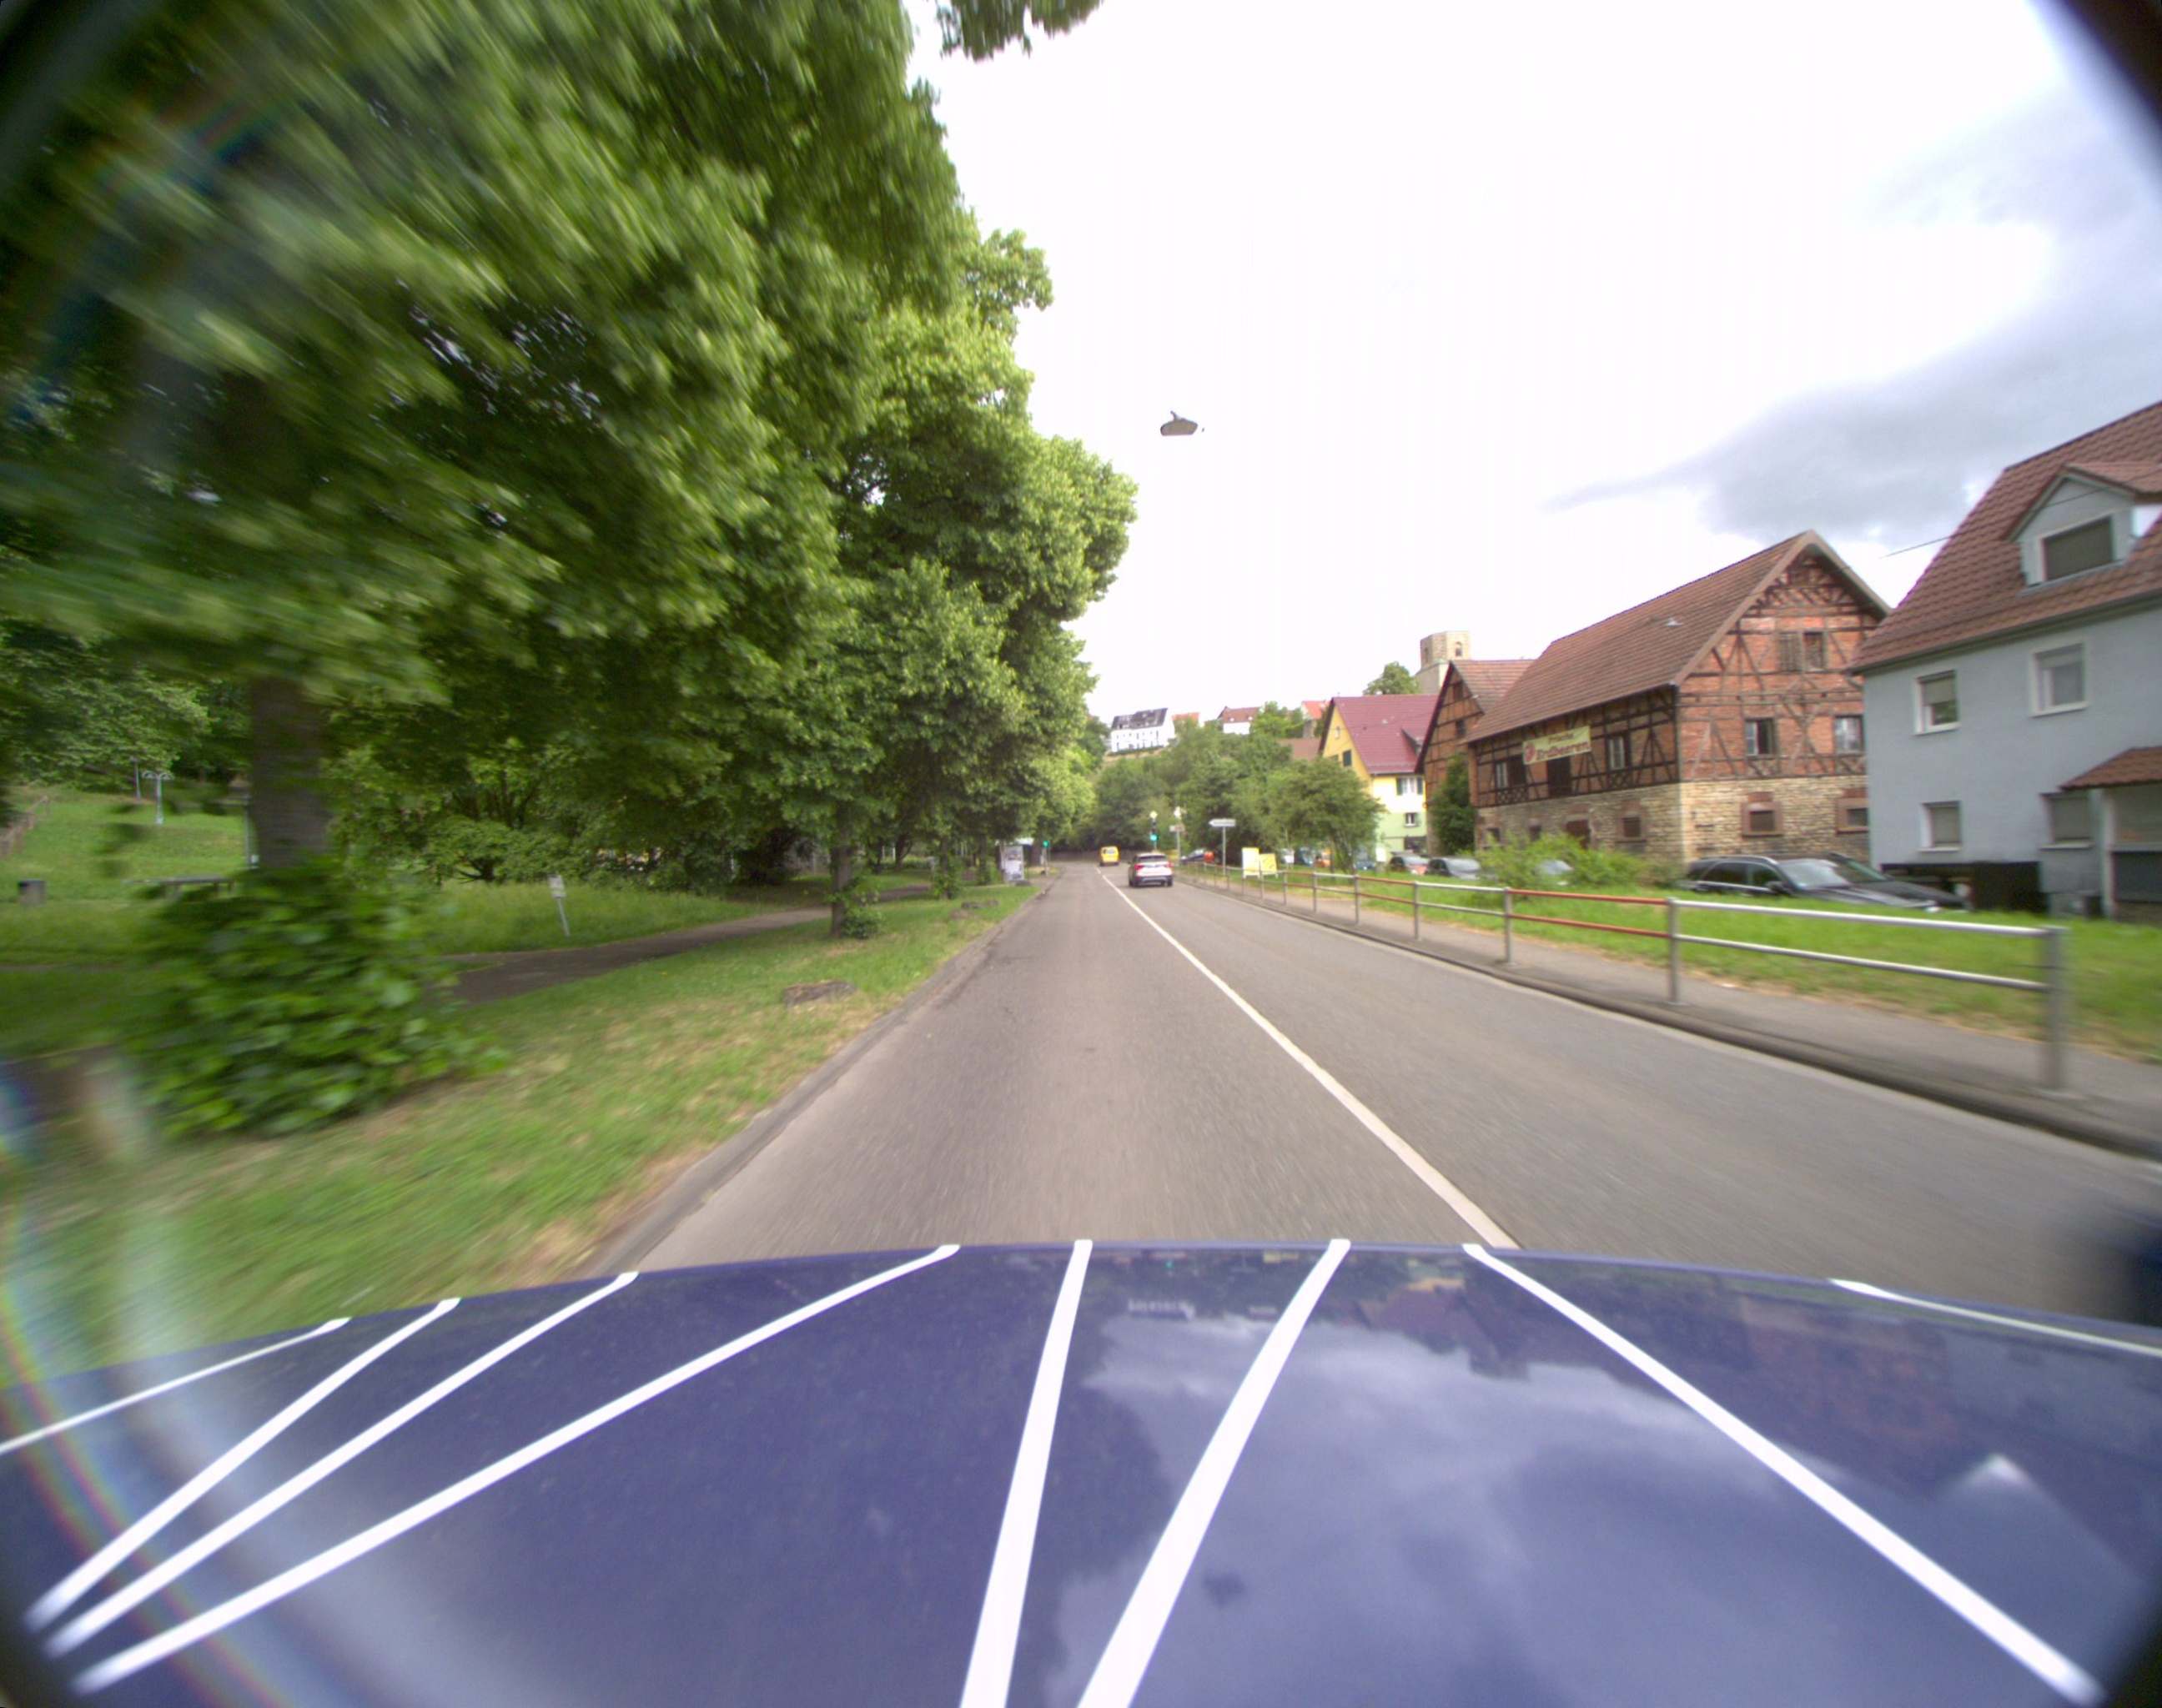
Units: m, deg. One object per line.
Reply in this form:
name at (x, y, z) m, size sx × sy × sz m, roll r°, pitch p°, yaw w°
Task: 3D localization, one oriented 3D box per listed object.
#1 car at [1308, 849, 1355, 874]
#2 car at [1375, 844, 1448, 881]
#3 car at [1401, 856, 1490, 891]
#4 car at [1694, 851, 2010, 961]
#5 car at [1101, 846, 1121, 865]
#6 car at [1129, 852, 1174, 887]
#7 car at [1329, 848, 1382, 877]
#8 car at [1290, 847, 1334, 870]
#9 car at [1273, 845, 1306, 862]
car at (16.633, 0.467, 50.604) m, size 1.953 × 1.608 × 4.001 m, roll -1°, pitch 0°, yaw 3°
car at (15.194, 0.369, 35.163) m, size 1.815 × 1.608 × 4.001 m, roll -1°, pitch 0°, yaw 3°
car at (14.516, 0.736, 30.492) m, size 1.997 × 1.269 × 4.002 m, roll -1°, pitch 0°, yaw 6°
car at (13.551, 0.807, 13.782) m, size 1.925 × 1.685 × 4.002 m, roll -1°, pitch 0°, yaw 6°
car at (3.190, 0.117, 81.251) m, size 1.850 × 1.919 × 4.768 m, roll -3°, pitch 0°, yaw 0°
car at (3.174, 0.666, 34.973) m, size 1.709 × 1.503 × 4.000 m, roll -1°, pitch 0°, yaw 0°
car at (16.033, 0.484, 44.586) m, size 1.815 × 1.608 × 4.001 m, roll -1°, pitch 0°, yaw 3°
car at (17.083, 0.316, 56.358) m, size 1.998 × 1.608 × 4.448 m, roll -1°, pitch 0°, yaw 2°
car at (17.366, -0.011, 63.453) m, size 1.649 × 1.337 × 4.152 m, roll -1°, pitch 0°, yaw 0°
